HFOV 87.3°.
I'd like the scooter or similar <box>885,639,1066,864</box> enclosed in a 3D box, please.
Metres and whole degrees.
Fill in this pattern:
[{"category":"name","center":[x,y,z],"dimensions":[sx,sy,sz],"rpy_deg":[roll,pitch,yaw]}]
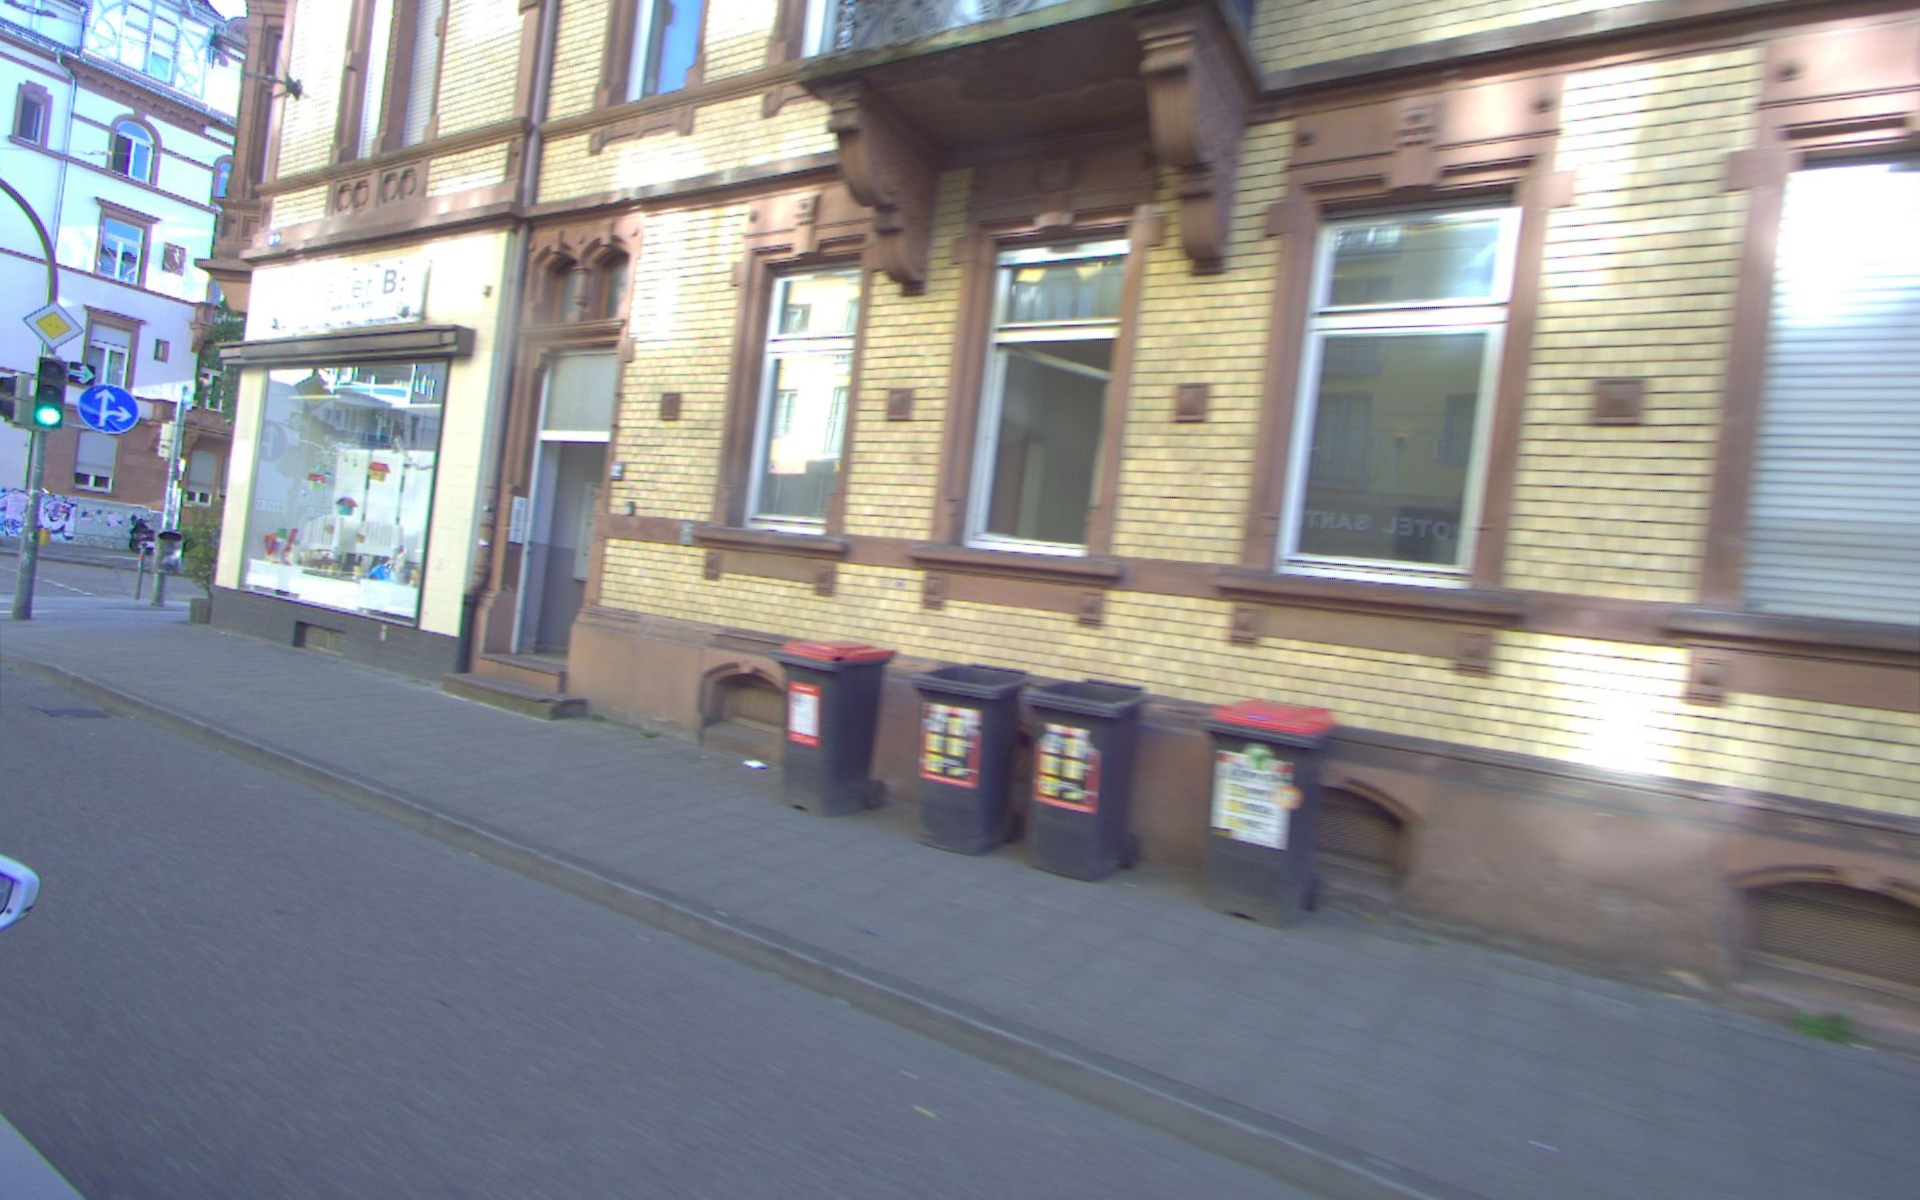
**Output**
[{"category":"scooter or similar","center":[0.113,0.868,6.148],"dimensions":[0.639,1.164,0.933],"rpy_deg":[7,4,30]}]

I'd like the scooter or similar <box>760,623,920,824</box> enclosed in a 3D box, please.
[{"category":"scooter or similar","center":[-0.775,0.767,6.655],"dimensions":[0.538,1.164,0.897],"rpy_deg":[7,4,30]}]

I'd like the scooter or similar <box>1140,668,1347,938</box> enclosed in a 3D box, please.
[{"category":"scooter or similar","center":[1.523,1.015,5.359],"dimensions":[0.777,1.164,0.790],"rpy_deg":[7,4,31]}]

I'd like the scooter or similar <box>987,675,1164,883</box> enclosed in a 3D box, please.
[{"category":"scooter or similar","center":[0.677,0.985,5.810],"dimensions":[0.669,0.971,0.790],"rpy_deg":[7,4,31]}]

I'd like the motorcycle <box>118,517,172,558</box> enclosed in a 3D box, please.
[{"category":"motorcycle","center":[-28.097,-2.150,34.660],"dimensions":[2.350,1.138,0.612],"rpy_deg":[8,0,31]}]
